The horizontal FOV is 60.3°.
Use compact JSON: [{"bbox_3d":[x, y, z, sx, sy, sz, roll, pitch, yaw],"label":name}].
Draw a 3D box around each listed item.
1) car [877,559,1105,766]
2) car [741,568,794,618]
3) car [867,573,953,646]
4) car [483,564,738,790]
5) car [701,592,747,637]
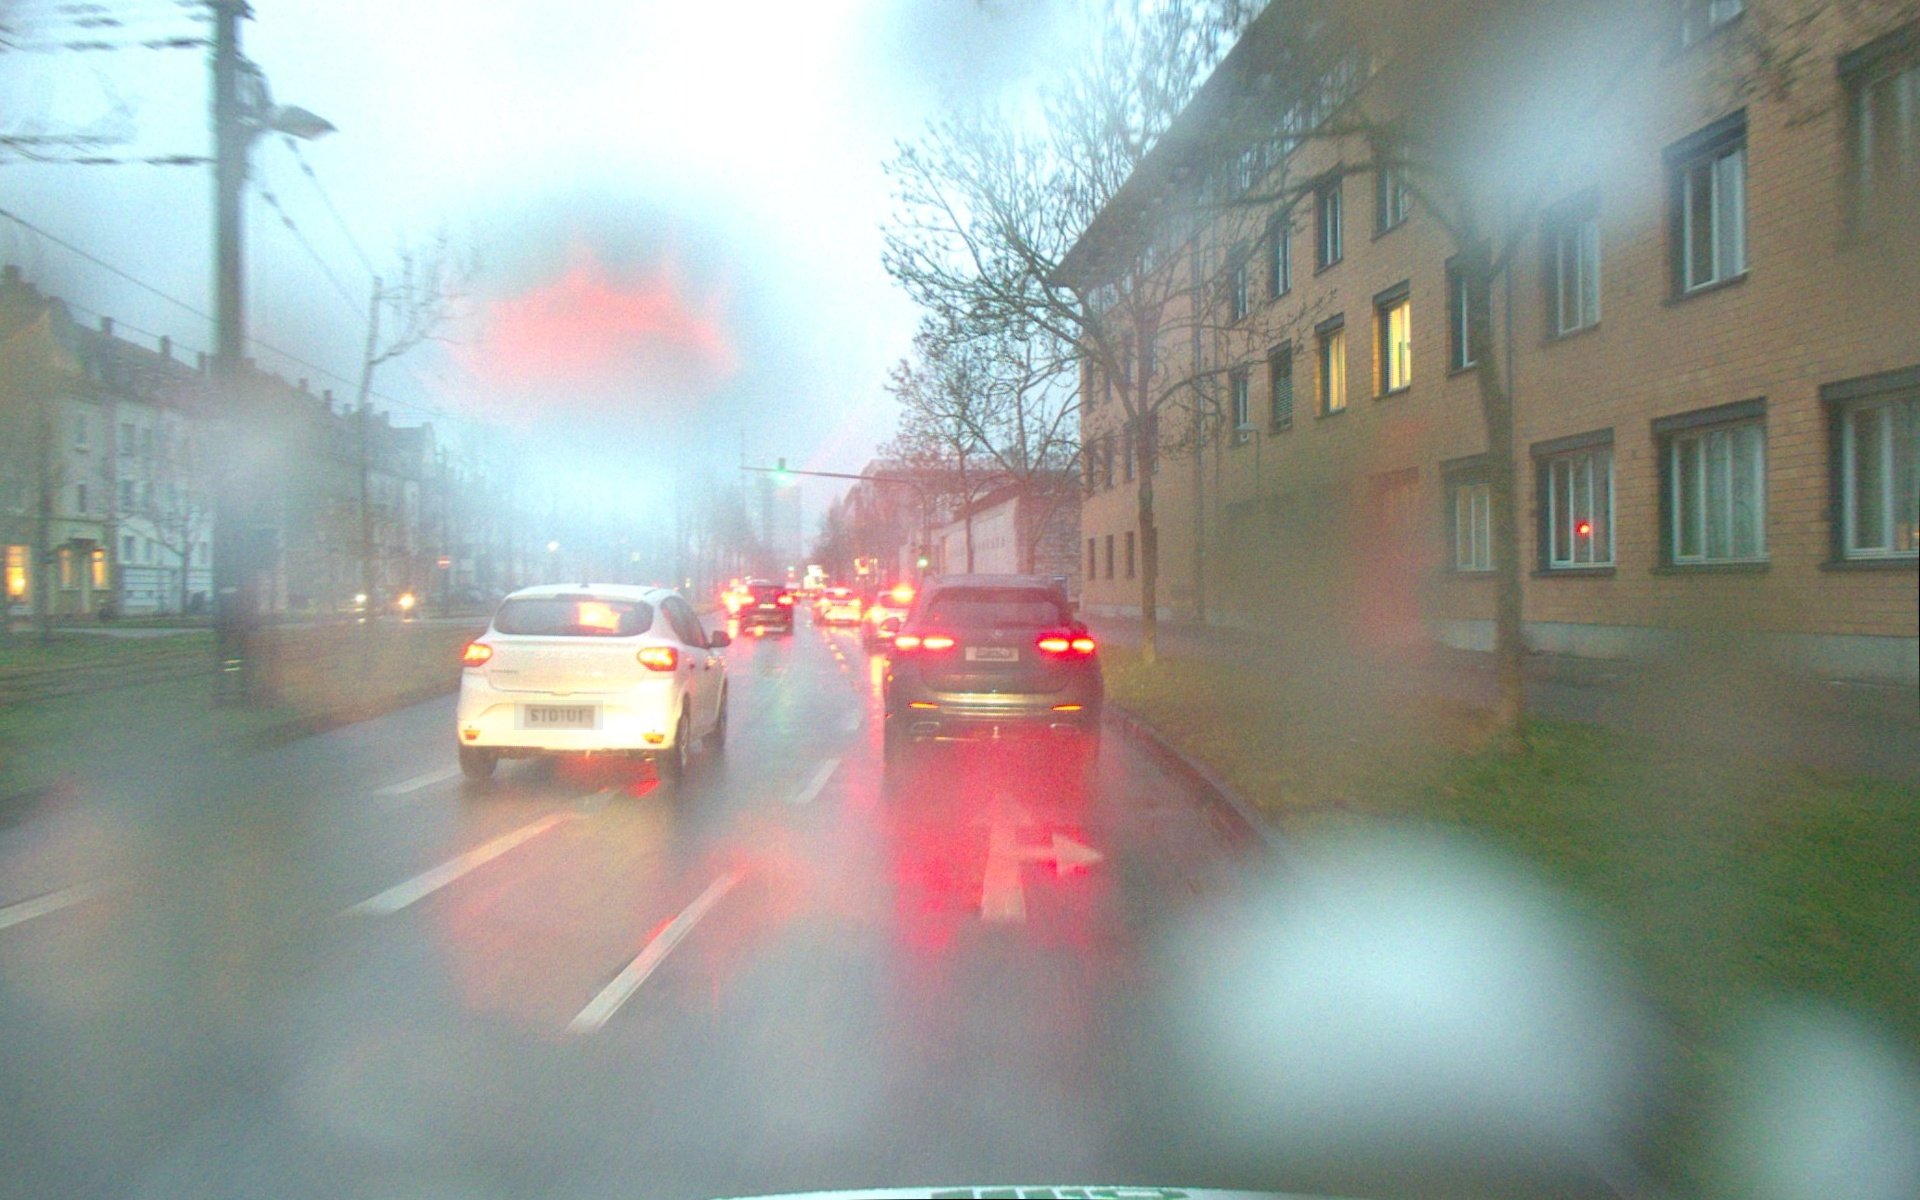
[{"bbox_3d":[0.151,0.487,15.090,1.639,1.628,4.049,0,0,-5],"label":"car"},{"bbox_3d":[-6.464,-0.235,55.825,1.639,1.628,4.049,0,0,-5],"label":"car"},{"bbox_3d":[-1.346,0.218,42.515,1.955,1.774,3.996,-1,0,-5],"label":"car"},{"bbox_3d":[-2.795,0.551,14.001,1.639,1.628,4.049,0,0,-5],"label":"car"},{"bbox_3d":[-11.393,0.681,80.128,1.954,2.049,3.996,-1,1,-5],"label":"car"}]
